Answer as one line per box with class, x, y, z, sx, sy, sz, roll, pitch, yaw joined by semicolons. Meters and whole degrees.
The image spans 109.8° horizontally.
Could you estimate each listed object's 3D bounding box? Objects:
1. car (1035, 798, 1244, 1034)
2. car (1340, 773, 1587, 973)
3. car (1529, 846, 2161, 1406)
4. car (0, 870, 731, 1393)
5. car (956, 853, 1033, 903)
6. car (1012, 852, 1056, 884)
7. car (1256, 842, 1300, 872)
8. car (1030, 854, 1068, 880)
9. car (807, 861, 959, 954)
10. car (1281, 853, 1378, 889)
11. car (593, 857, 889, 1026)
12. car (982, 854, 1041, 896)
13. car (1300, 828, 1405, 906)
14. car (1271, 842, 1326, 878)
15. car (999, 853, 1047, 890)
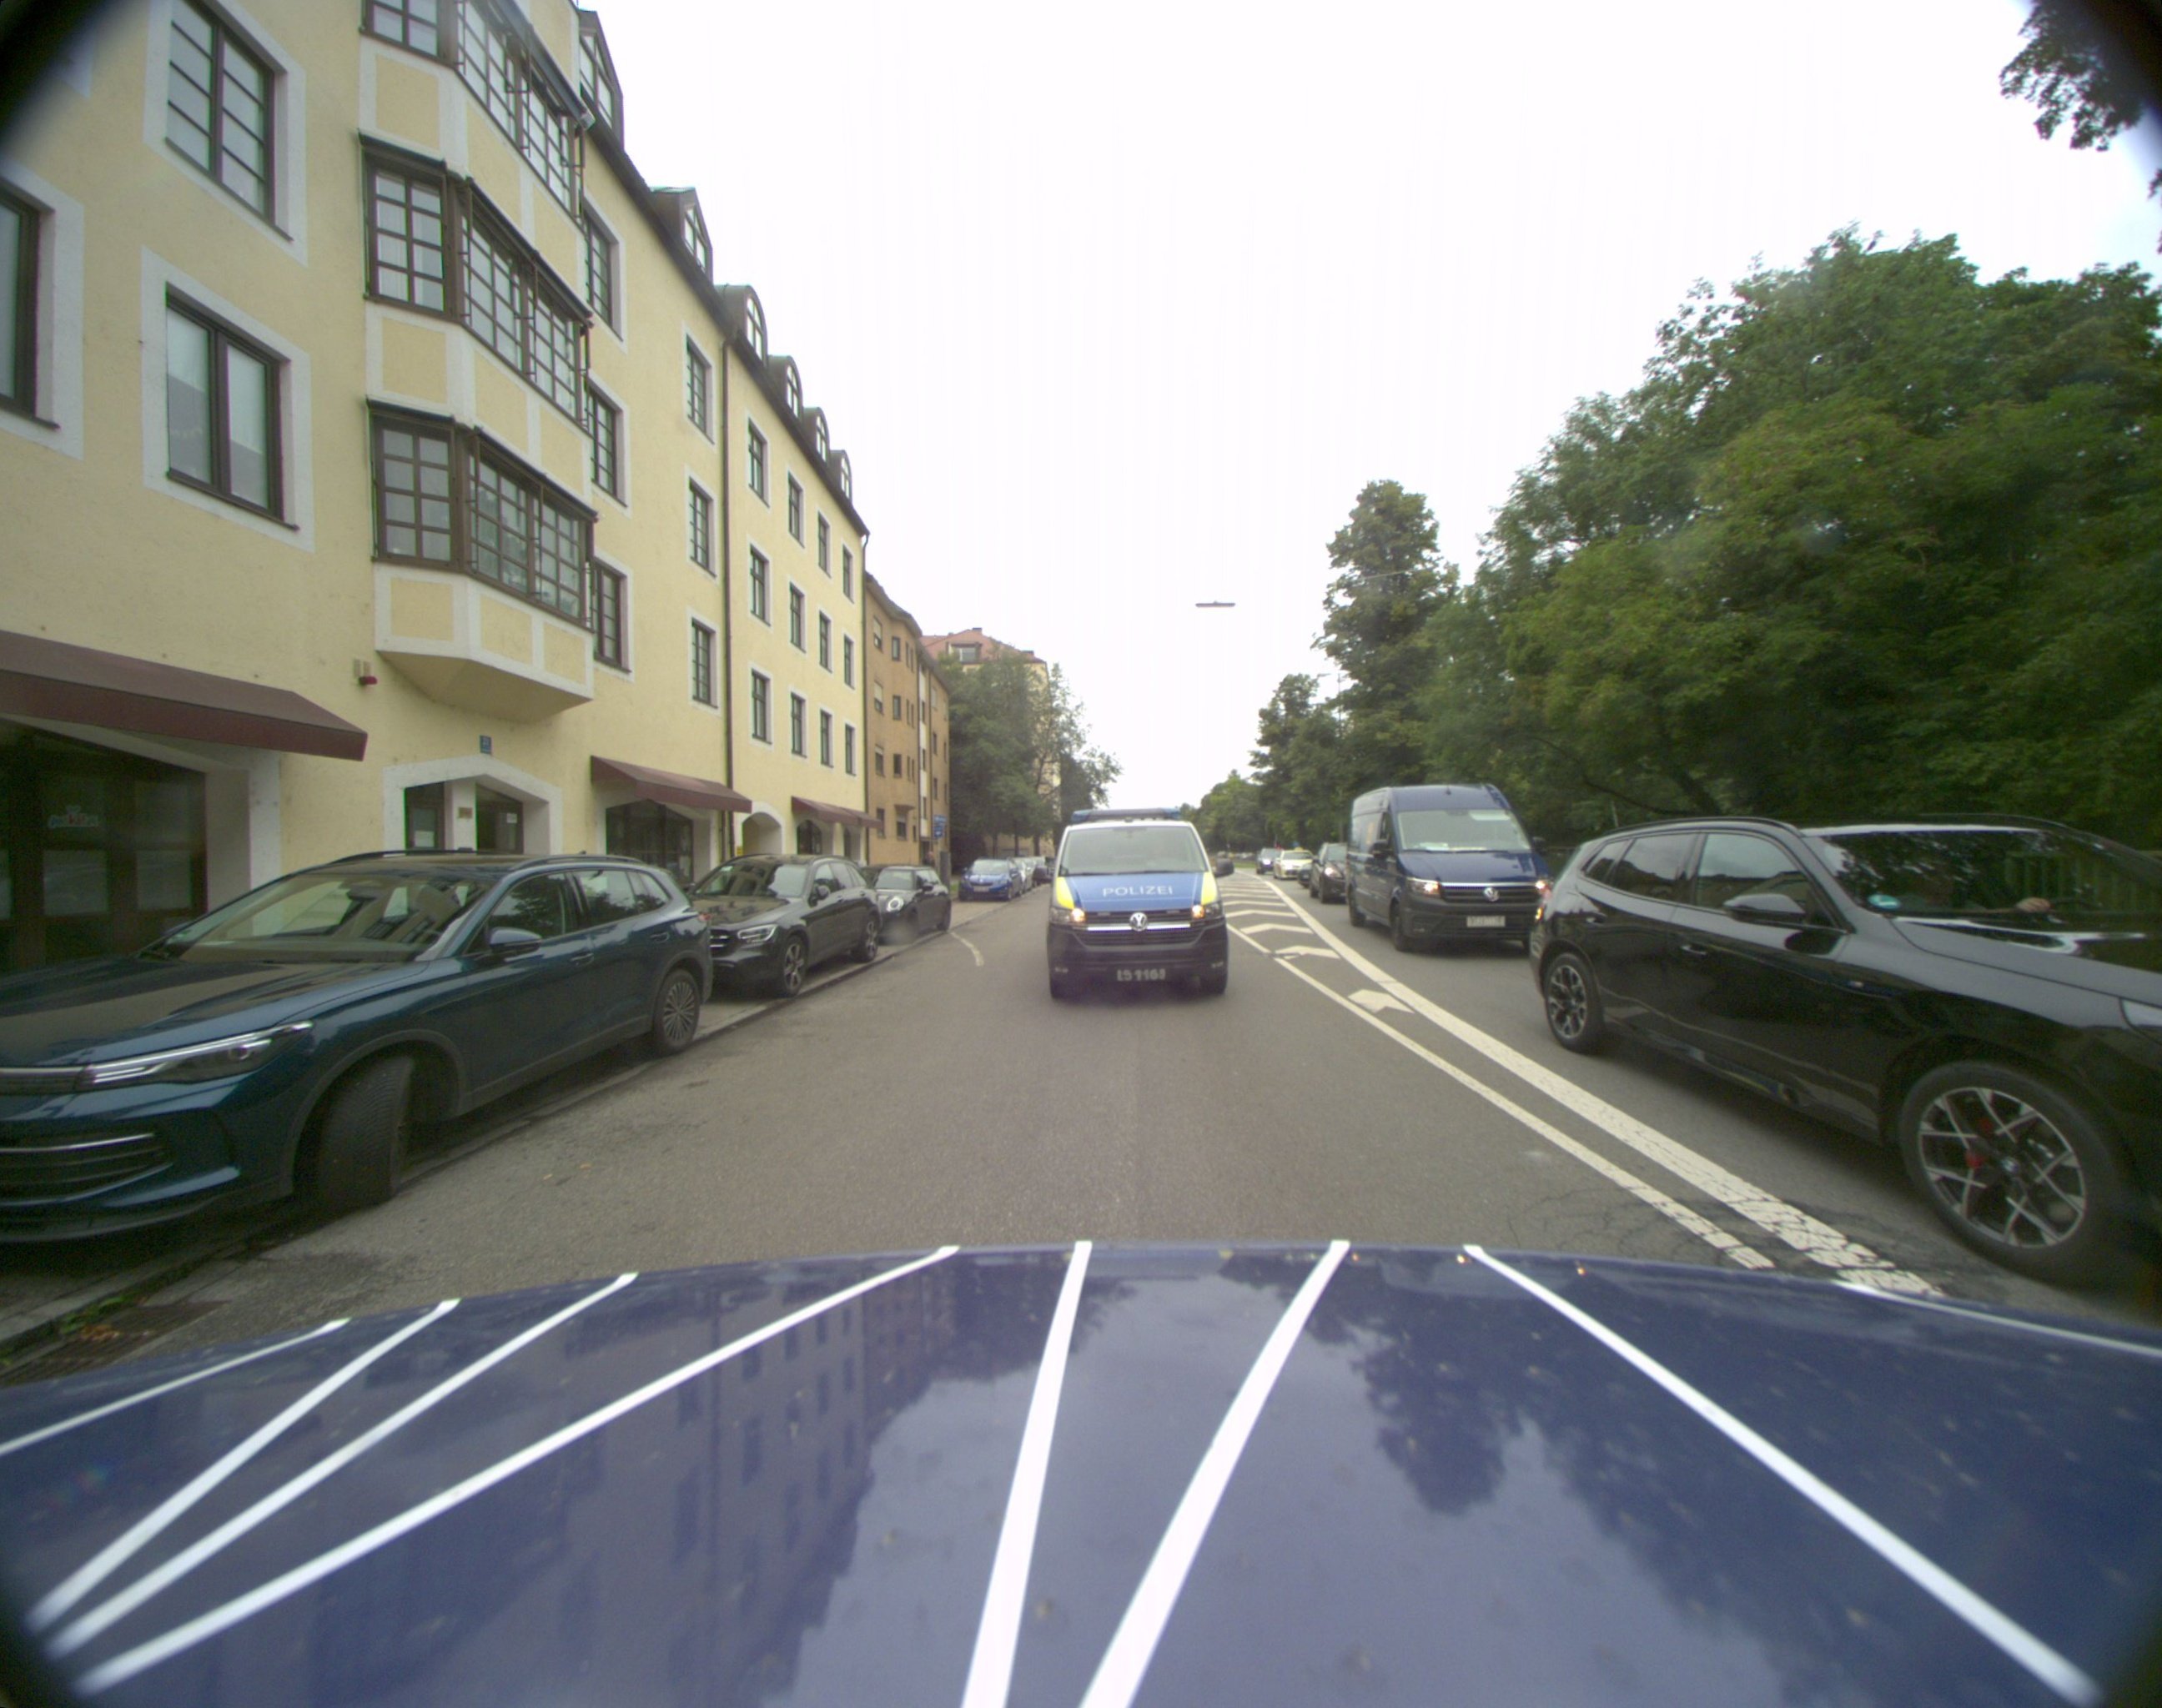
car;0.580;0.568;9.775;1.826;2.086;5.633;-2;0;1
car;5.837;0.194;12.642;2.004;2.477;6.236;-1;1;11
car;4.194;0.752;3.661;1.920;1.556;4.295;0;1;7
car;-4.261;0.979;4.735;2.112;1.613;4.496;-1;0;-1
car;-3.045;0.784;27.973;1.883;1.642;5.617;1;0;3
car;-2.593;0.728;42.832;1.883;1.642;4.300;-2;0;3
car;12.415;0.149;48.216;2.314;1.719;5.219;-2;0;11
car;-1.981;0.808;48.218;1.883;1.474;4.300;-2;0;3
car;-3.754;0.947;15.098;1.764;1.514;3.933;1;0;4
car;9.301;0.604;28.345;3.617;1.207;1.493;-2;1;-34
car;-4.073;0.918;9.980;1.817;1.580;4.164;3;1;2
car;-2.943;0.853;33.225;1.883;1.642;4.617;-2;0;2
car;7.767;0.311;22.295;2.005;1.925;5.810;-2;0;11
car;10.530;0.251;37.124;2.102;1.581;5.572;-2;0;11
car;-2.835;0.821;38.096;1.883;1.642;4.585;-2;0;2
